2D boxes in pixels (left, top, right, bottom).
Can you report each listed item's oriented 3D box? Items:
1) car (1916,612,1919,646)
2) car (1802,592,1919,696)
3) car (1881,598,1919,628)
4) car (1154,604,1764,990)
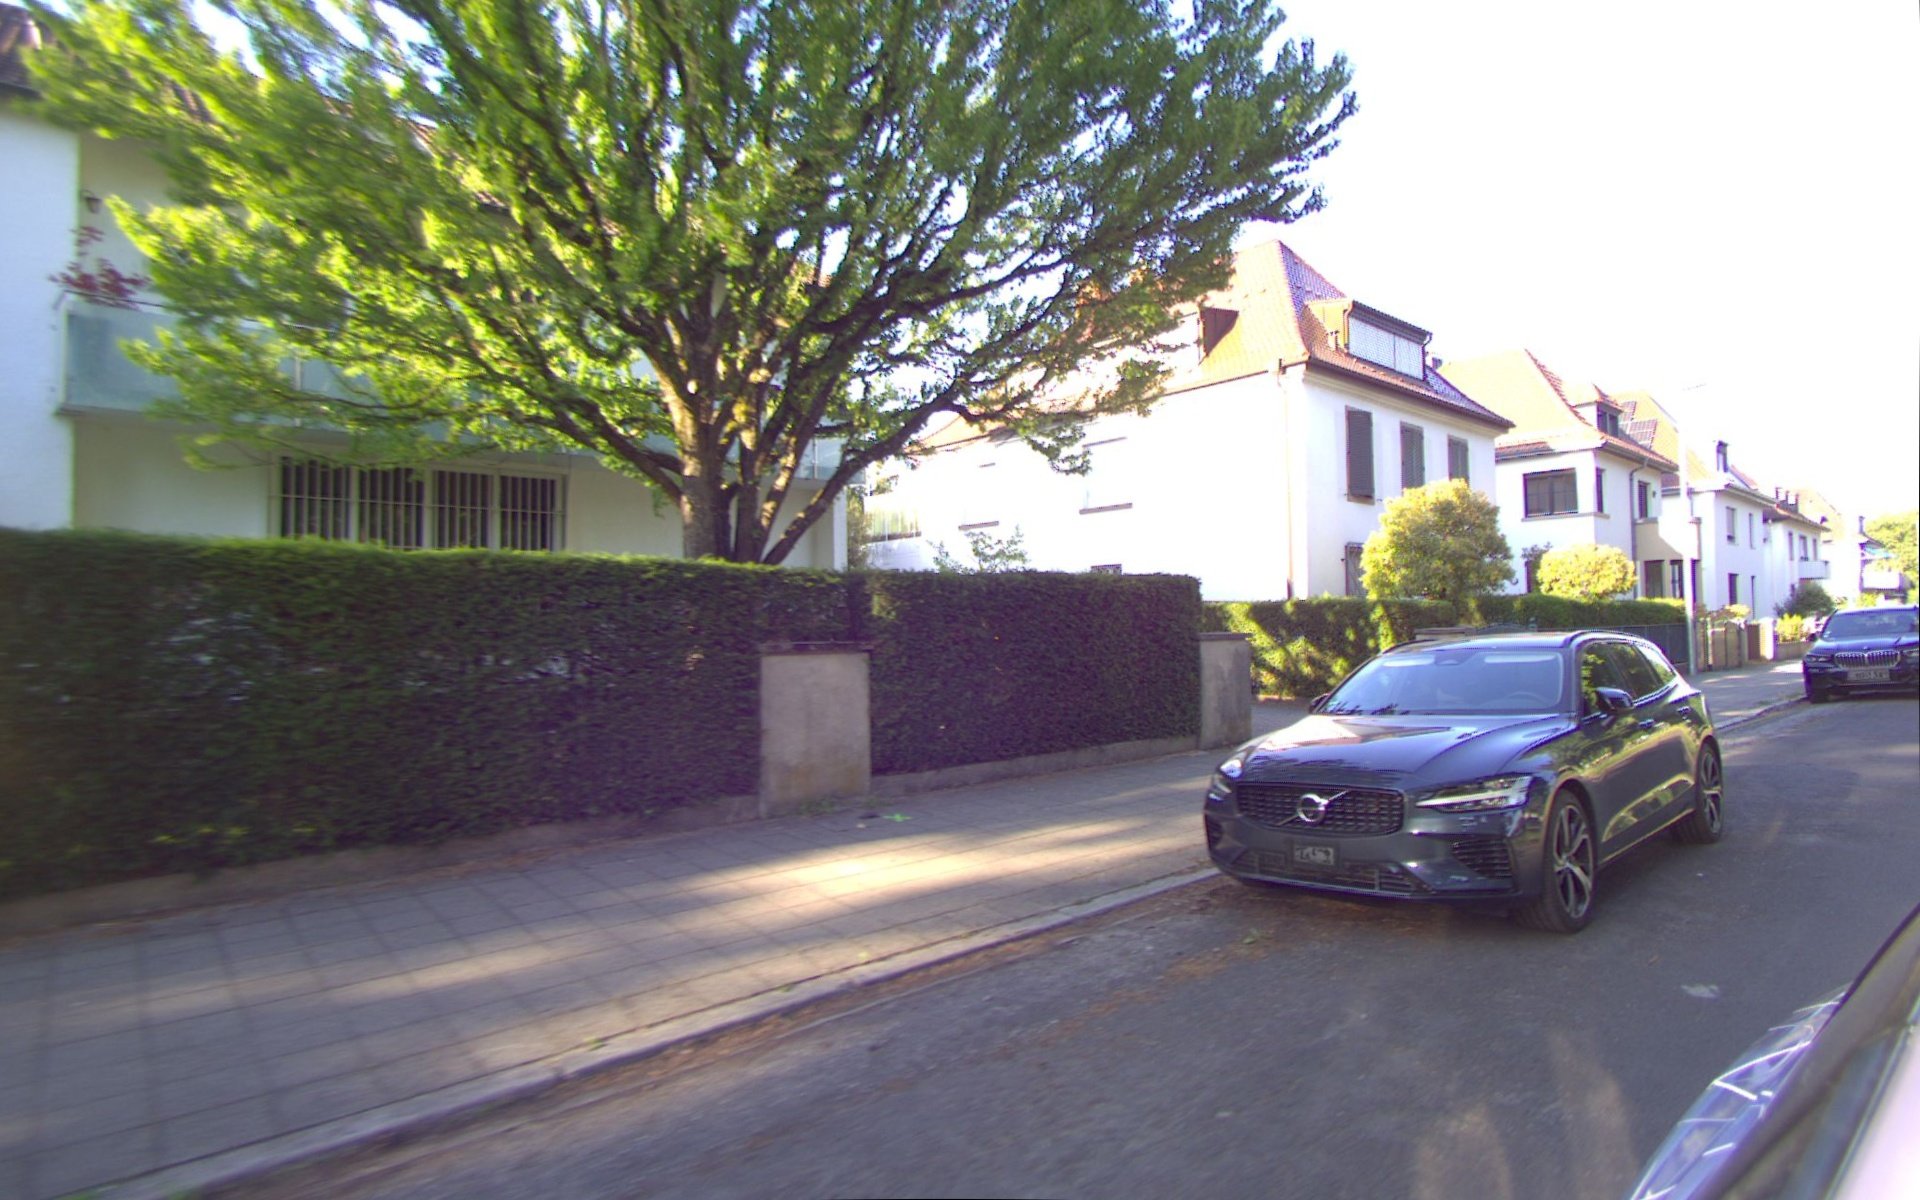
[{"bbox_3d":[28.407,0.992,28.425,4.514,1.482,1.781,0,-5,-42],"label":"car"},{"bbox_3d":[17.941,0.772,19.421,4.781,1.760,1.995,0,-5,-43],"label":"car"},{"bbox_3d":[65.243,0.856,68.622,1.967,1.953,3.988,1,-2,-44],"label":"car"},{"bbox_3d":[3.373,0.843,6.330,4.594,1.511,1.795,-1,-2,-42],"label":"car"}]
